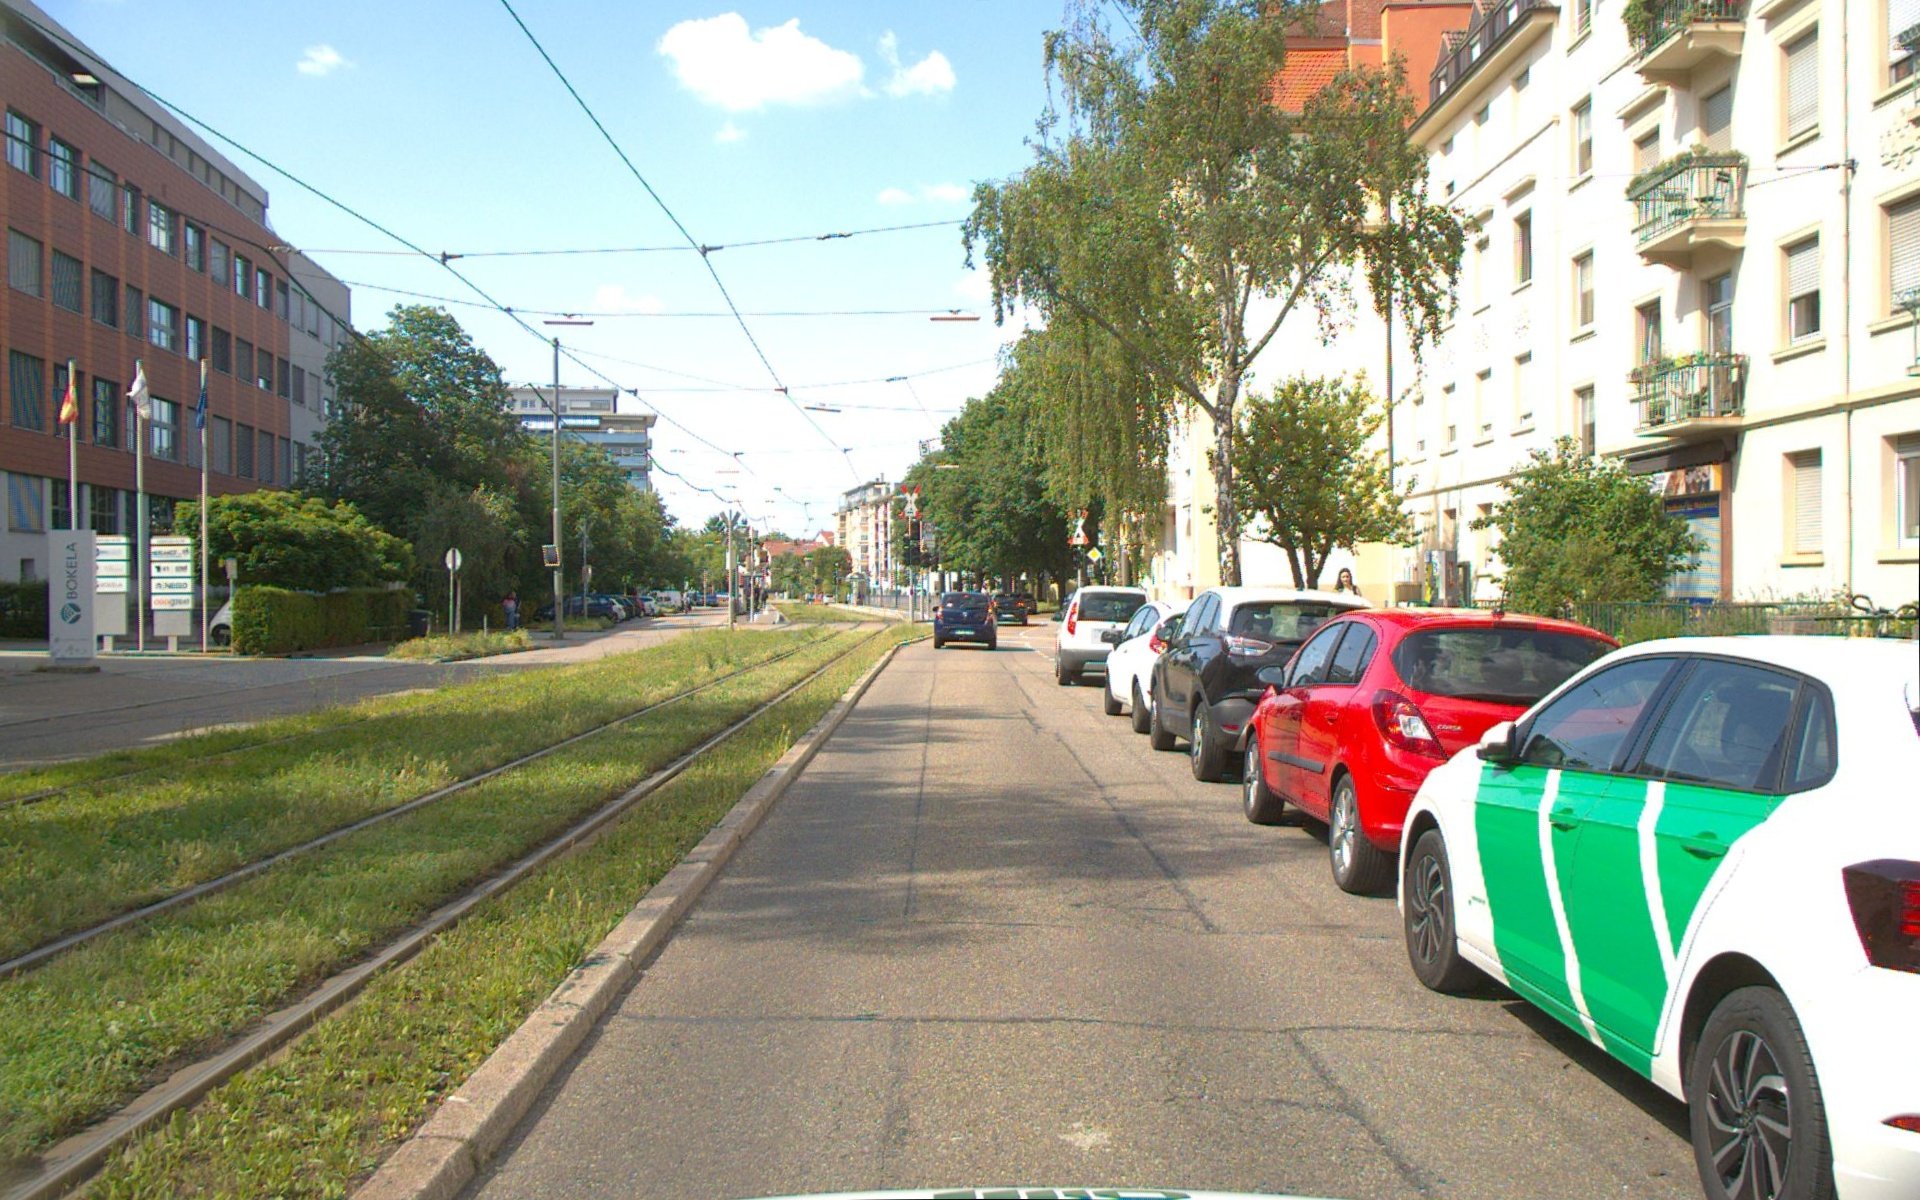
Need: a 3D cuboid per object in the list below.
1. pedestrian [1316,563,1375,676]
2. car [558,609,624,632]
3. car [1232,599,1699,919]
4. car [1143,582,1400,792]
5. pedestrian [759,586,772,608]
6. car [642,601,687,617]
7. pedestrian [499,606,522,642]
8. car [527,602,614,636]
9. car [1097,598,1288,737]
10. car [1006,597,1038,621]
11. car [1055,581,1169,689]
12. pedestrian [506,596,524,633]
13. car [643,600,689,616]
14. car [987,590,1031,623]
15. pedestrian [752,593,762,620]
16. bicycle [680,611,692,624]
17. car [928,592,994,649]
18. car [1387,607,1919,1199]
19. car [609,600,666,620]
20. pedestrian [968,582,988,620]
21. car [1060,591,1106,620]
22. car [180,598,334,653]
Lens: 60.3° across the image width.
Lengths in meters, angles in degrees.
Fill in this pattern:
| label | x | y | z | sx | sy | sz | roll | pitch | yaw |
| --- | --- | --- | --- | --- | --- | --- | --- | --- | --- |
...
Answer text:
| label | x | y | z | sx | sy | sz | roll | pitch | yaw |
| --- | --- | --- | --- | --- | --- | --- | --- | --- | --- |
| pedestrian | 6.032 | 0.295 | 25.895 | 0.714 | 1.712 | 0.691 | -3 | 0 | 3 |
| car | -20.508 | 1.132 | 91.997 | 1.518 | 1.258 | 3.365 | -1 | 0 | 44 |
| car | 2.774 | 0.776 | 9.965 | 1.557 | 1.478 | 3.844 | 3 | 0 | 0 |
| car | 2.646 | 0.678 | 14.820 | 1.463 | 1.607 | 3.758 | 2 | 0 | -2 |
| pedestrian | -13.319 | -0.207 | 113.036 | 0.642 | 1.451 | 0.562 | -2 | 0 | 31 |
| car | -26.881 | 0.812 | 150.297 | 1.608 | 1.410 | 3.982 | -1 | 0 | 38 |
| pedestrian | -19.982 | 1.068 | 73.531 | 0.730 | 1.601 | 0.889 | -1 | -2 | 2 |
| car | -20.192 | 0.967 | 85.832 | 1.696 | 1.669 | 4.104 | -1 | 0 | 44 |
| car | 2.661 | 0.731 | 19.713 | 1.639 | 1.441 | 3.794 | 2 | 0 | -1 |
| car | 4.058 | 0.548 | 108.086 | 1.823 | 1.470 | 3.999 | -2 | 0 | -1 |
| car | 2.523 | 0.564 | 28.187 | 1.685 | 1.658 | 4.001 | 2 | 0 | 2 |
| pedestrian | -20.508 | 0.680 | 76.223 | 0.545 | 1.686 | 0.747 | -1 | -1 | 2 |
| car | -27.663 | 0.761 | 155.625 | 3.964 | 1.472 | 1.702 | -1 | 0 | -41 |
| car | 2.143 | 0.295 | 73.211 | 1.666 | 1.392 | 3.513 | 1 | 0 | -2 |
| pedestrian | -13.765 | 0.436 | 112.249 | 0.591 | 1.797 | 0.639 | -1 | 0 | 3 |
| bicycle | -22.342 | 1.403 | 134.995 | 0.667 | 0.988 | 2.177 | -1 | 0 | -2 |
| car | 0.061 | 0.527 | 45.210 | 1.731 | 1.487 | 3.776 | 0 | 0 | 1 |
| car | 2.682 | 0.805 | 5.182 | 1.587 | 1.478 | 3.918 | 3 | 0 | -1 |
| car | -24.402 | 0.717 | 125.251 | 1.686 | 1.391 | 3.975 | -2 | 0 | 42 |
| pedestrian | 0.880 | 0.039 | 80.231 | 0.854 | 1.806 | 1.002 | -1 | 0 | -6 |
| car | 6.517 | 0.312 | 88.002 | 1.732 | 1.458 | 3.898 | -2 | 0 | -7 |
| car | -21.700 | 0.783 | 51.189 | 3.908 | 1.624 | 1.999 | -1 | 0 | -4 |
